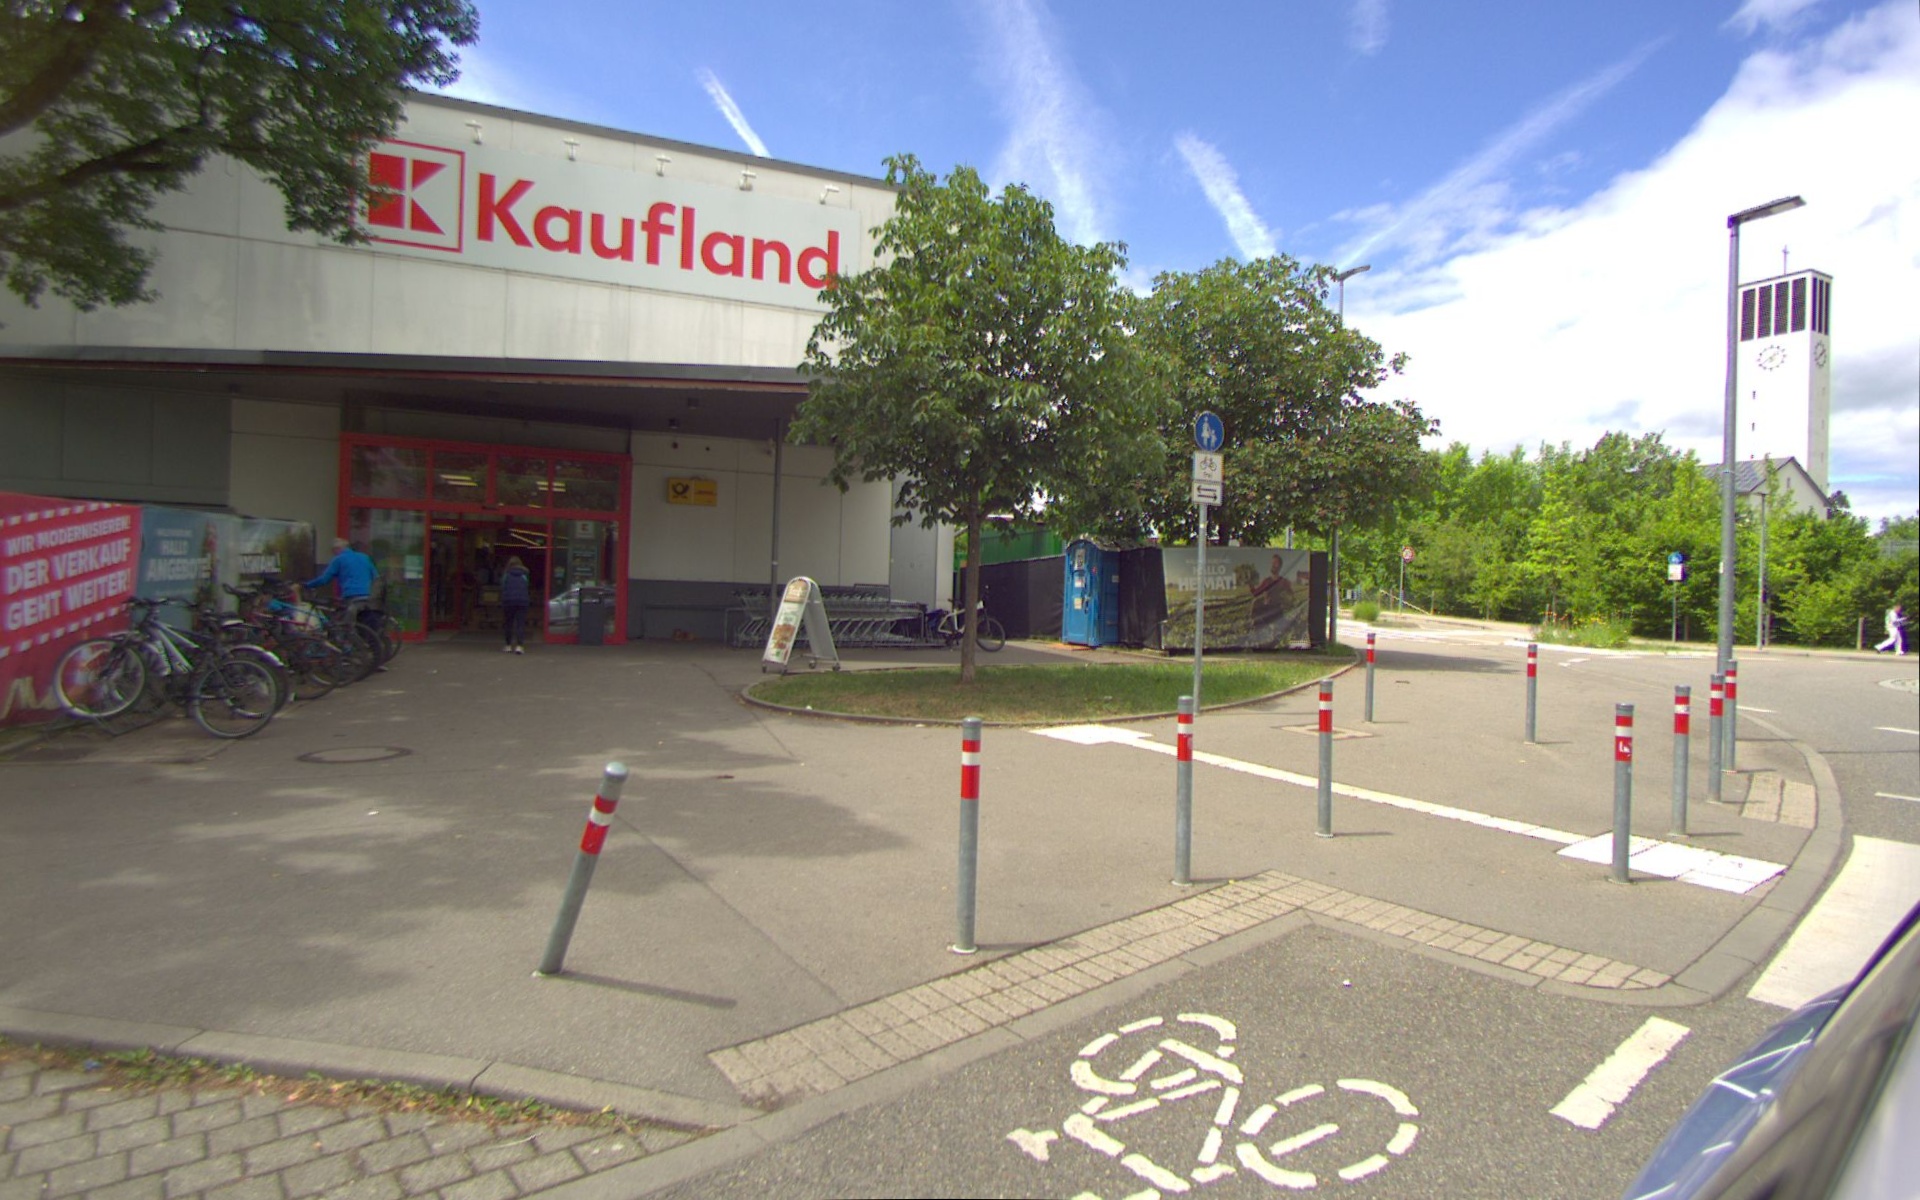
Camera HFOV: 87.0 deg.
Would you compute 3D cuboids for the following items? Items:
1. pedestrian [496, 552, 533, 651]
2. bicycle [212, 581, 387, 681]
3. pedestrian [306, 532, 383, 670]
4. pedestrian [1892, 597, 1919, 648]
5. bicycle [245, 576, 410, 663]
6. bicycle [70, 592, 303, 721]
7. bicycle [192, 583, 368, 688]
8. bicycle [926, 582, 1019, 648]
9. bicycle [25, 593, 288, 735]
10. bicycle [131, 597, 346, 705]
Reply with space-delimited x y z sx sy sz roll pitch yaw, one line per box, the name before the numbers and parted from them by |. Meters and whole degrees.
pedestrian | -7.304 0.016 16.605 0.485 1.586 0.628 1 0 -18
bicycle | -8.058 0.371 12.415 1.730 1.170 0.441 1 0 -21
pedestrian | -8.131 -0.002 13.396 0.732 1.778 0.626 1 2 -17
pedestrian | 29.357 0.682 31.192 0.943 1.553 0.459 2 -1 -13
bicycle | -8.808 0.269 14.168 1.873 1.170 0.531 1 0 -16
bicycle | -7.245 0.518 9.525 1.737 1.170 0.502 1 0 -5
bicycle | -7.861 0.397 11.763 1.626 1.170 0.427 1 0 -19
bicycle | 0.239 0.275 19.975 1.762 1.249 0.705 1 0 37
bicycle | -6.822 0.532 8.651 1.754 1.170 0.452 1 0 -9
bicycle | -7.512 0.507 10.628 1.764 1.053 0.522 1 1 -26
